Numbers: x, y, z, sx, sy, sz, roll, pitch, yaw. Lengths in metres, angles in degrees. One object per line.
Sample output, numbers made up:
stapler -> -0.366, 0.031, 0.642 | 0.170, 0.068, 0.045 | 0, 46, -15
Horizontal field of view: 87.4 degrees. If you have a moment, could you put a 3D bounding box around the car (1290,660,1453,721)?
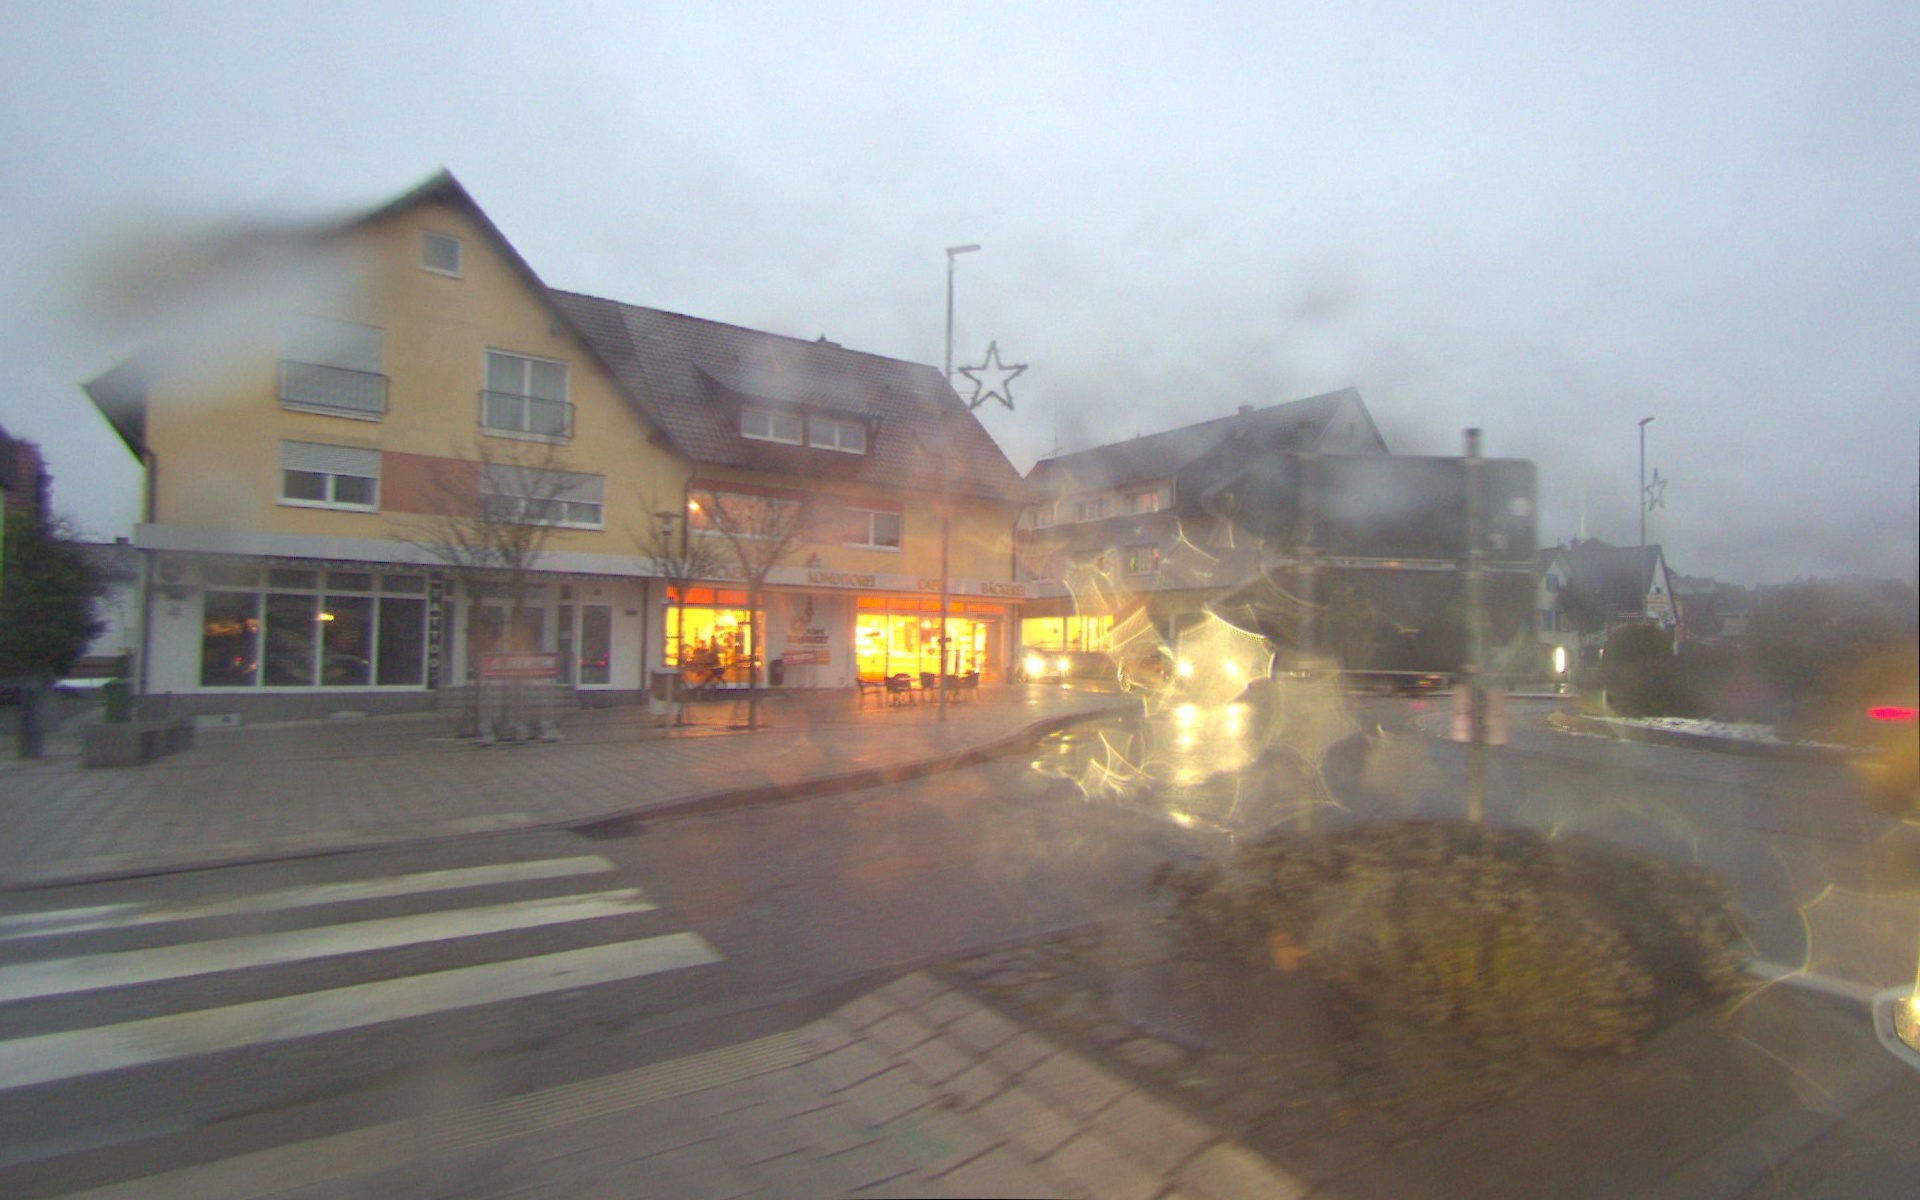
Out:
car -> 12.804, 2.774, 31.484 | 1.881, 1.632, 4.457 | 2, -2, -34

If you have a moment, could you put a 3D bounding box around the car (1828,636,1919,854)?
car -> 7.891, 0.947, 5.864 | 1.697, 1.440, 3.976 | 1, -2, -33

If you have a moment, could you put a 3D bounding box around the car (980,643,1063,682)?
car -> 2.851, 2.882, 47.022 | 1.688, 1.684, 4.026 | 2, -2, -37

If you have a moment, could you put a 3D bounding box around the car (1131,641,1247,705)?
car -> 6.658, 2.092, 29.750 | 1.917, 1.614, 4.627 | 1, -1, -7
